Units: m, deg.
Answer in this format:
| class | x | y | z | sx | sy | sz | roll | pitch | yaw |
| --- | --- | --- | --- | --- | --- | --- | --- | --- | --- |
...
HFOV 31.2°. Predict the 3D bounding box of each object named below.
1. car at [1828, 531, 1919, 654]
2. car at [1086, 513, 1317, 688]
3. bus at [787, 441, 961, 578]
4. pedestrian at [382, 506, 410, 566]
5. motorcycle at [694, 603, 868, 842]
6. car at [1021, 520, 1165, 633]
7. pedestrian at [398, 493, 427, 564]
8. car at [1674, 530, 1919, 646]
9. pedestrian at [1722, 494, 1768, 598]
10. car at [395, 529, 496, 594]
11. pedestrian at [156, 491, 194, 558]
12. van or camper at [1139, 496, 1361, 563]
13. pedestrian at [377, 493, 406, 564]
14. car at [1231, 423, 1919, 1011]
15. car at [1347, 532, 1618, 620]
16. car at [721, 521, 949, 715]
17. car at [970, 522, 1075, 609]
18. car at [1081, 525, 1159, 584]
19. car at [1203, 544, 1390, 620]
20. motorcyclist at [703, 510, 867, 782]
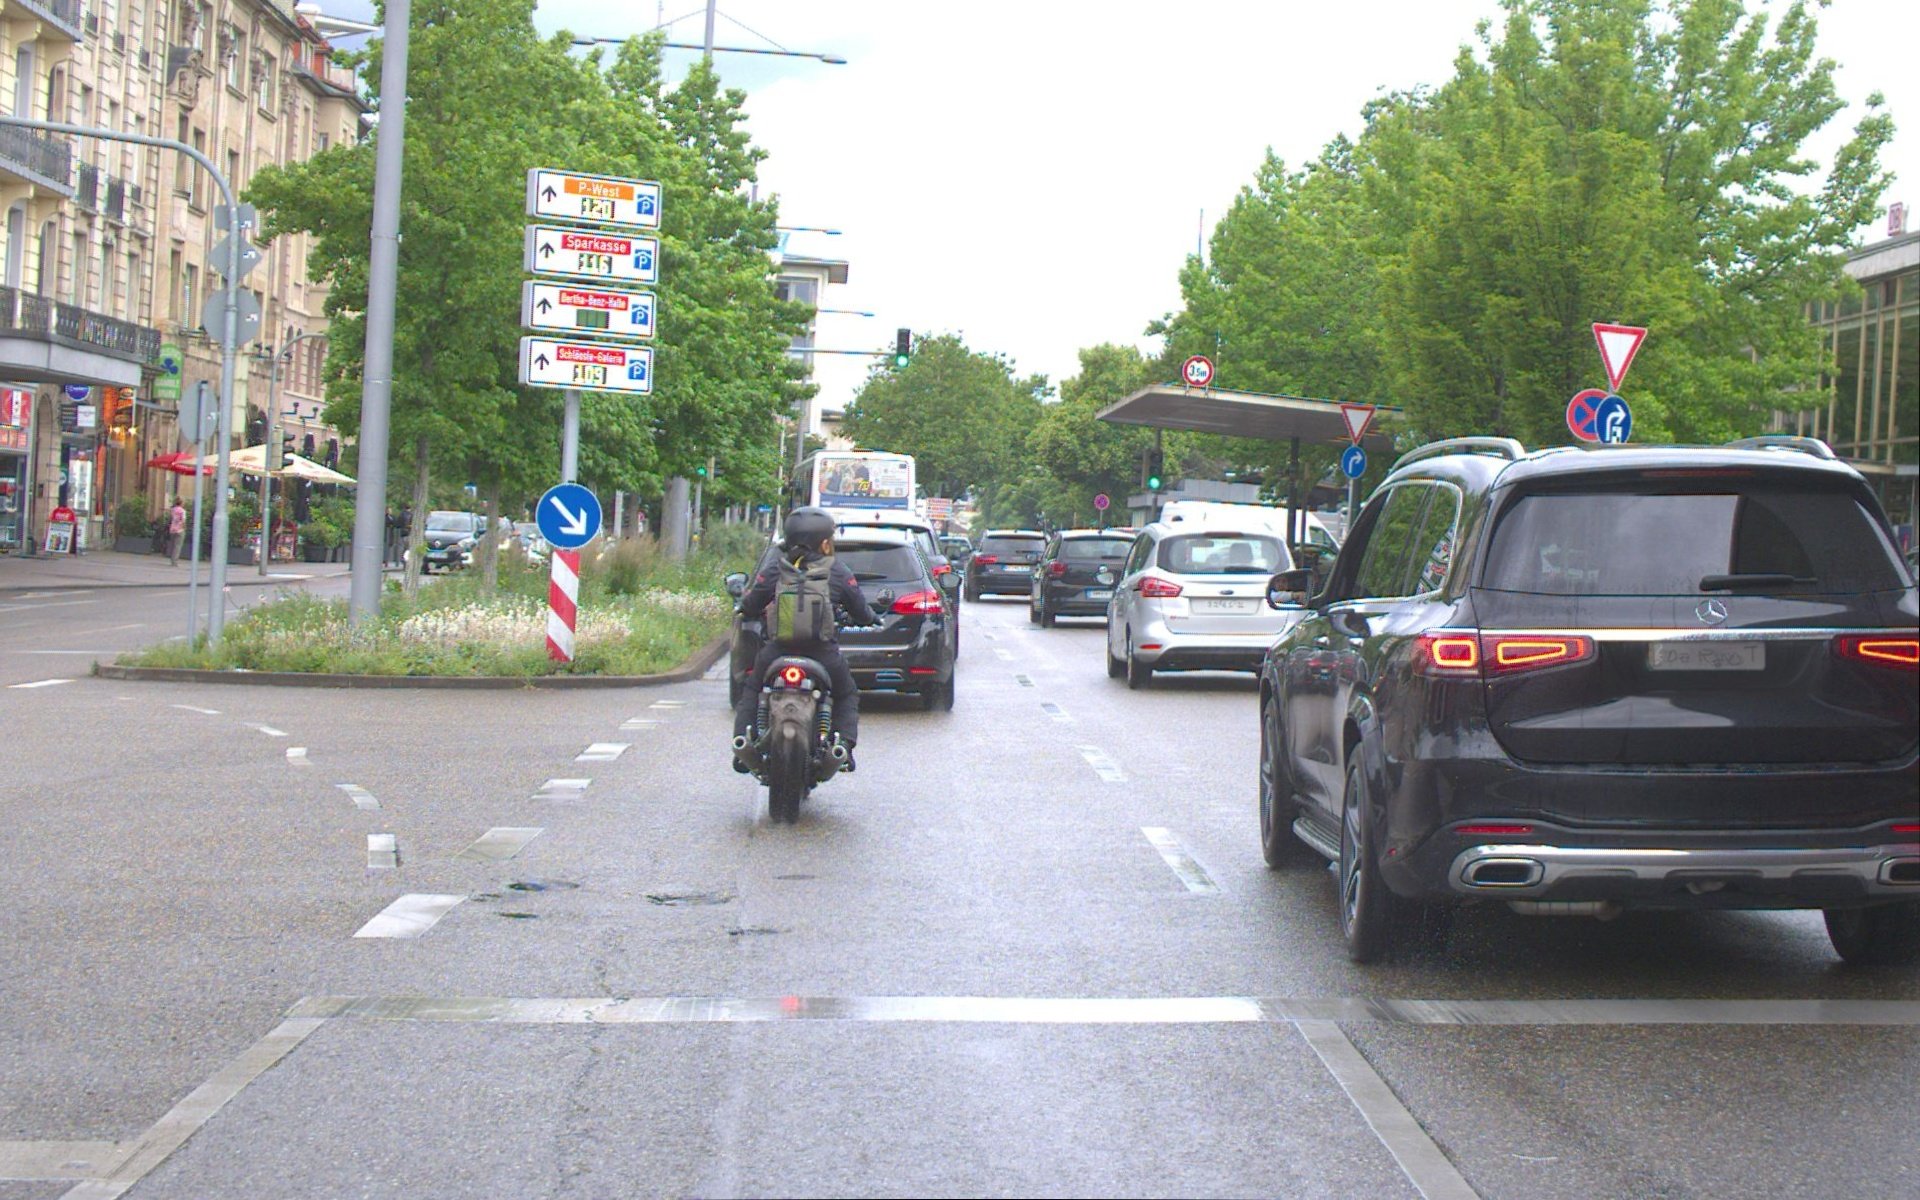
| class | x | y | z | sx | sy | sz | roll | pitch | yaw |
| --- | --- | --- | --- | --- | --- | --- | --- | --- | --- |
| car | 12.852 | -0.109 | 44.341 | 1.913 | 1.519 | 4.743 | 1 | 1 | -3 |
| car | 2.254 | -0.038 | 33.038 | 1.851 | 1.561 | 4.000 | 1 | 1 | -1 |
| bus | -2.427 | -2.305 | 88.989 | 3.760 | 3.198 | 15.529 | 1 | 1 | -4 |
| pedestrian | -16.184 | -1.839 | 98.728 | 0.674 | 1.696 | 0.634 | 1 | 1 | -1 |
| motorcycle | -0.879 | 0.582 | 17.372 | 0.766 | 1.073 | 2.175 | 1 | 1 | -1 |
| car | 1.940 | -0.380 | 51.257 | 1.810 | 1.576 | 3.904 | 1 | 1 | -2 |
| pedestrian | -15.673 | -2.050 | 98.373 | 0.757 | 2.007 | 0.833 | 1 | 1 | -7 |
| car | 12.343 | -0.214 | 50.824 | 1.993 | 1.594 | 4.824 | 1 | 1 | -8 |
| pedestrian | 18.329 | -1.273 | 80.308 | 0.843 | 2.403 | 0.862 | 1 | 1 | 1 |
| car | -12.530 | -0.954 | 83.908 | 1.771 | 1.525 | 4.079 | -1 | 1 | 0 |
| pedestrian | -17.646 | -1.694 | 77.317 | 0.661 | 1.505 | 0.519 | 0 | 1 | -39 |
| van or camper | 9.249 | -2.220 | 109.389 | 6.753 | 2.007 | 2.385 | 0 | 1 | -27 |
| pedestrian | -16.347 | -2.064 | 98.946 | 0.757 | 2.007 | 0.833 | 1 | 1 | -7 |
| car | 2.252 | 0.306 | 12.983 | 1.993 | 1.800 | 4.690 | 1 | 1 | -1 |
| car | 8.729 | -0.424 | 57.734 | 1.775 | 1.380 | 4.366 | 0 | 2 | -41 |
| car | -0.975 | 0.094 | 28.028 | 1.708 | 1.443 | 4.000 | 1 | 1 | -1 |
| car | 1.206 | -0.707 | 68.126 | 1.810 | 1.637 | 3.904 | 1 | 1 | -2 |
| car | 4.261 | -1.228 | 91.895 | 1.816 | 1.525 | 4.000 | 1 | 1 | -1 |
| car | 8.678 | -0.463 | 88.794 | 4.335 | 1.851 | 2.001 | 1 | 1 | -20 |
| motorcyclist | -0.873 | 0.219 | 17.362 | 0.764 | 1.327 | 0.866 | 1 | 1 | -1 |
